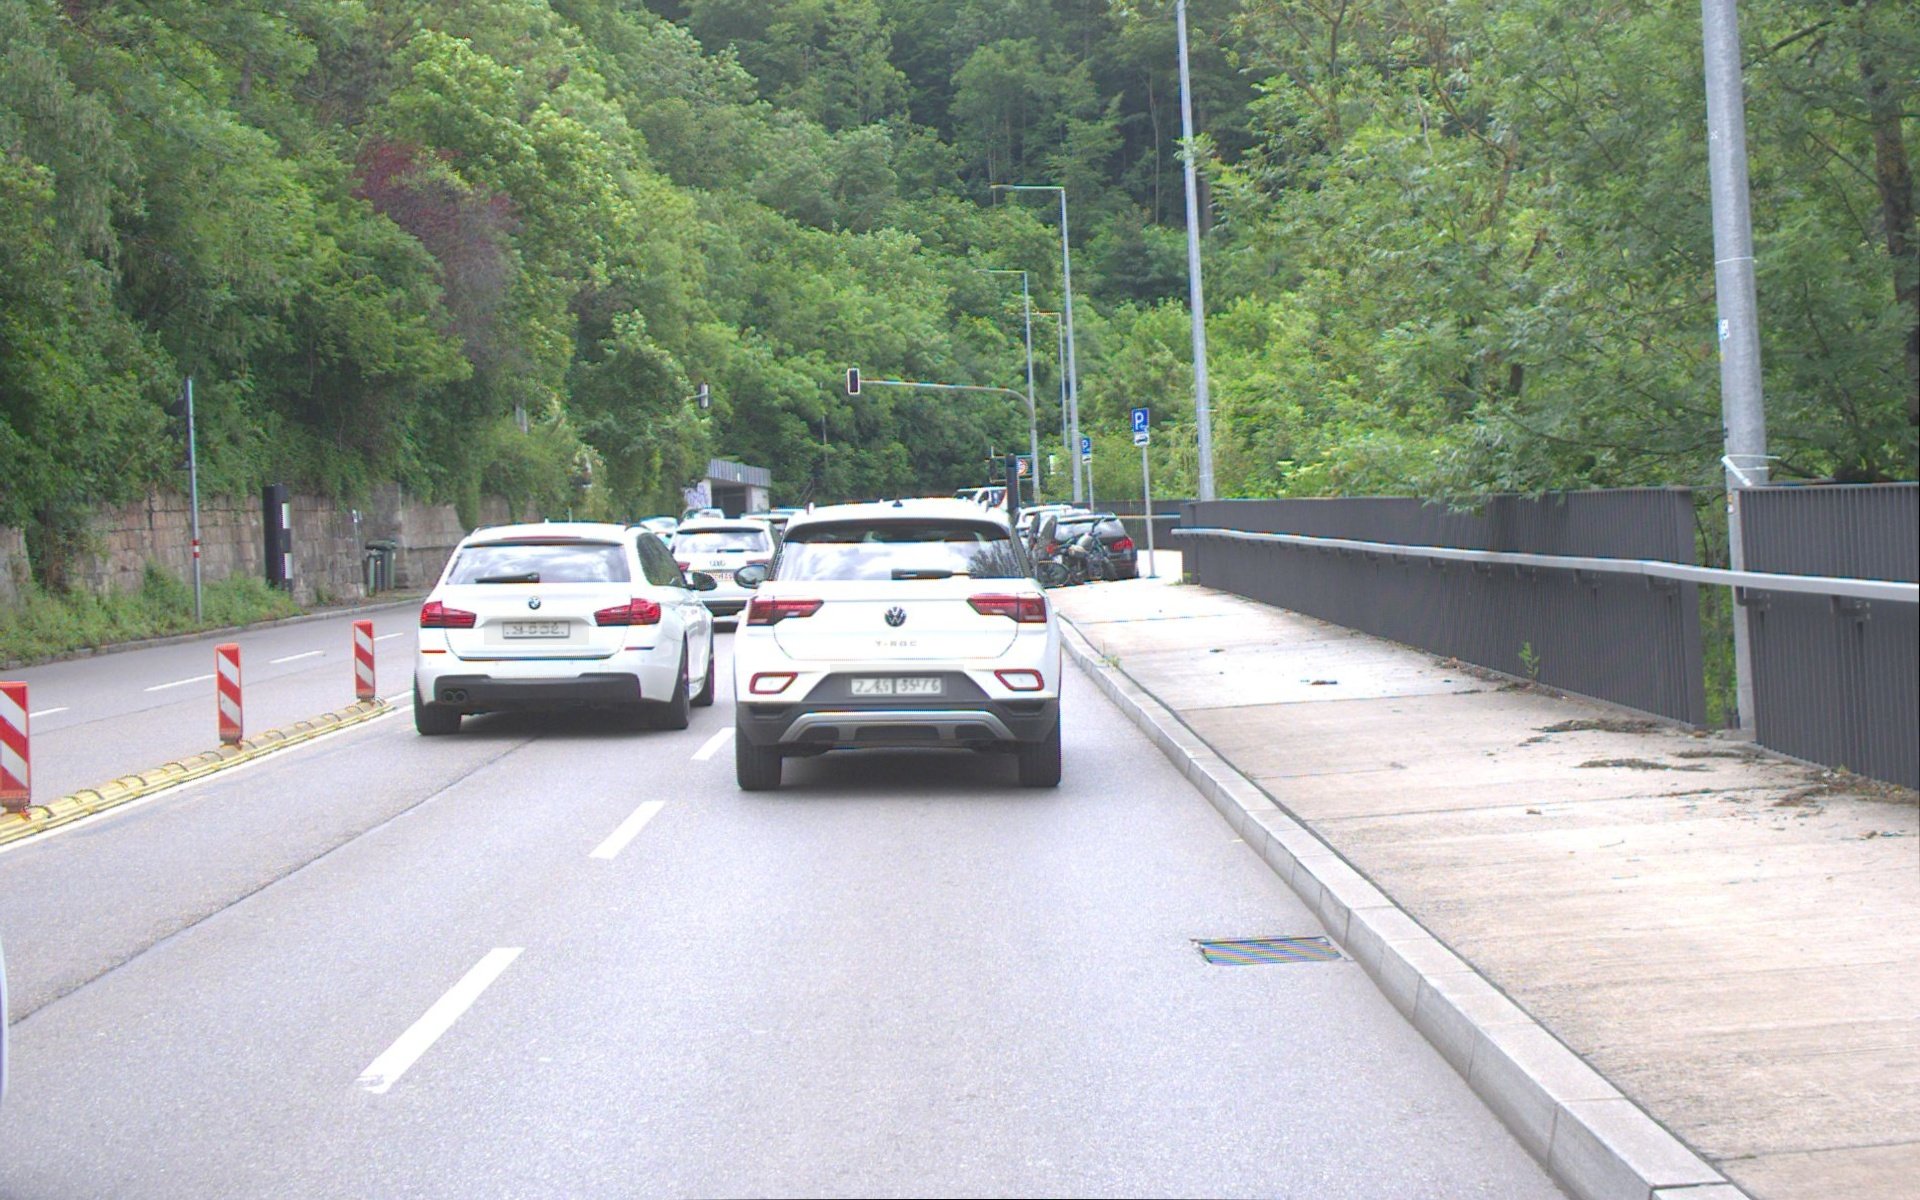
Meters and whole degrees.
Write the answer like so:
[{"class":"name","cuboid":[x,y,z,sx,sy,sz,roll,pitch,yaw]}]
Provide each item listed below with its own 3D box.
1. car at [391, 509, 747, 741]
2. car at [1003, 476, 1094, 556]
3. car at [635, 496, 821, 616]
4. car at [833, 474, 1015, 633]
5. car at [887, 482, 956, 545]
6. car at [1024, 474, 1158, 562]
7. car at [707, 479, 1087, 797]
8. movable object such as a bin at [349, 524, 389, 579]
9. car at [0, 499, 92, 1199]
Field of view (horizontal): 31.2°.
[{"class":"car","cuboid":[-2.729,0.107,25.002,1.828,1.454,4.486,-2,2,3]},{"class":"car","cuboid":[2.020,-1.964,79.678,1.993,1.712,4.114,-1,3,0]},{"class":"car","cuboid":[-3.050,-0.628,46.078,1.993,1.498,4.667,-1,2,2]},{"class":"car","cuboid":[-0.368,-0.601,40.821,1.993,1.712,4.114,-2,2,1]},{"class":"car","cuboid":[-1.227,-2.702,107.351,1.993,1.853,4.001,2,1,-2]},{"class":"car","cuboid":[2.317,-1.484,61.791,1.814,1.503,4.001,-1,2,-7]},{"class":"car","cuboid":[-0.255,0.131,19.829,1.828,1.600,4.000,-2,2,4]},{"class":"movable object such as a bin","cuboid":[-12.648,-1.040,73.615,0.717,1.171,0.675,-1,2,0]},{"class":"car","cuboid":[-2.922,0.624,5.634,1.821,1.575,4.356,-1,1,1]}]
